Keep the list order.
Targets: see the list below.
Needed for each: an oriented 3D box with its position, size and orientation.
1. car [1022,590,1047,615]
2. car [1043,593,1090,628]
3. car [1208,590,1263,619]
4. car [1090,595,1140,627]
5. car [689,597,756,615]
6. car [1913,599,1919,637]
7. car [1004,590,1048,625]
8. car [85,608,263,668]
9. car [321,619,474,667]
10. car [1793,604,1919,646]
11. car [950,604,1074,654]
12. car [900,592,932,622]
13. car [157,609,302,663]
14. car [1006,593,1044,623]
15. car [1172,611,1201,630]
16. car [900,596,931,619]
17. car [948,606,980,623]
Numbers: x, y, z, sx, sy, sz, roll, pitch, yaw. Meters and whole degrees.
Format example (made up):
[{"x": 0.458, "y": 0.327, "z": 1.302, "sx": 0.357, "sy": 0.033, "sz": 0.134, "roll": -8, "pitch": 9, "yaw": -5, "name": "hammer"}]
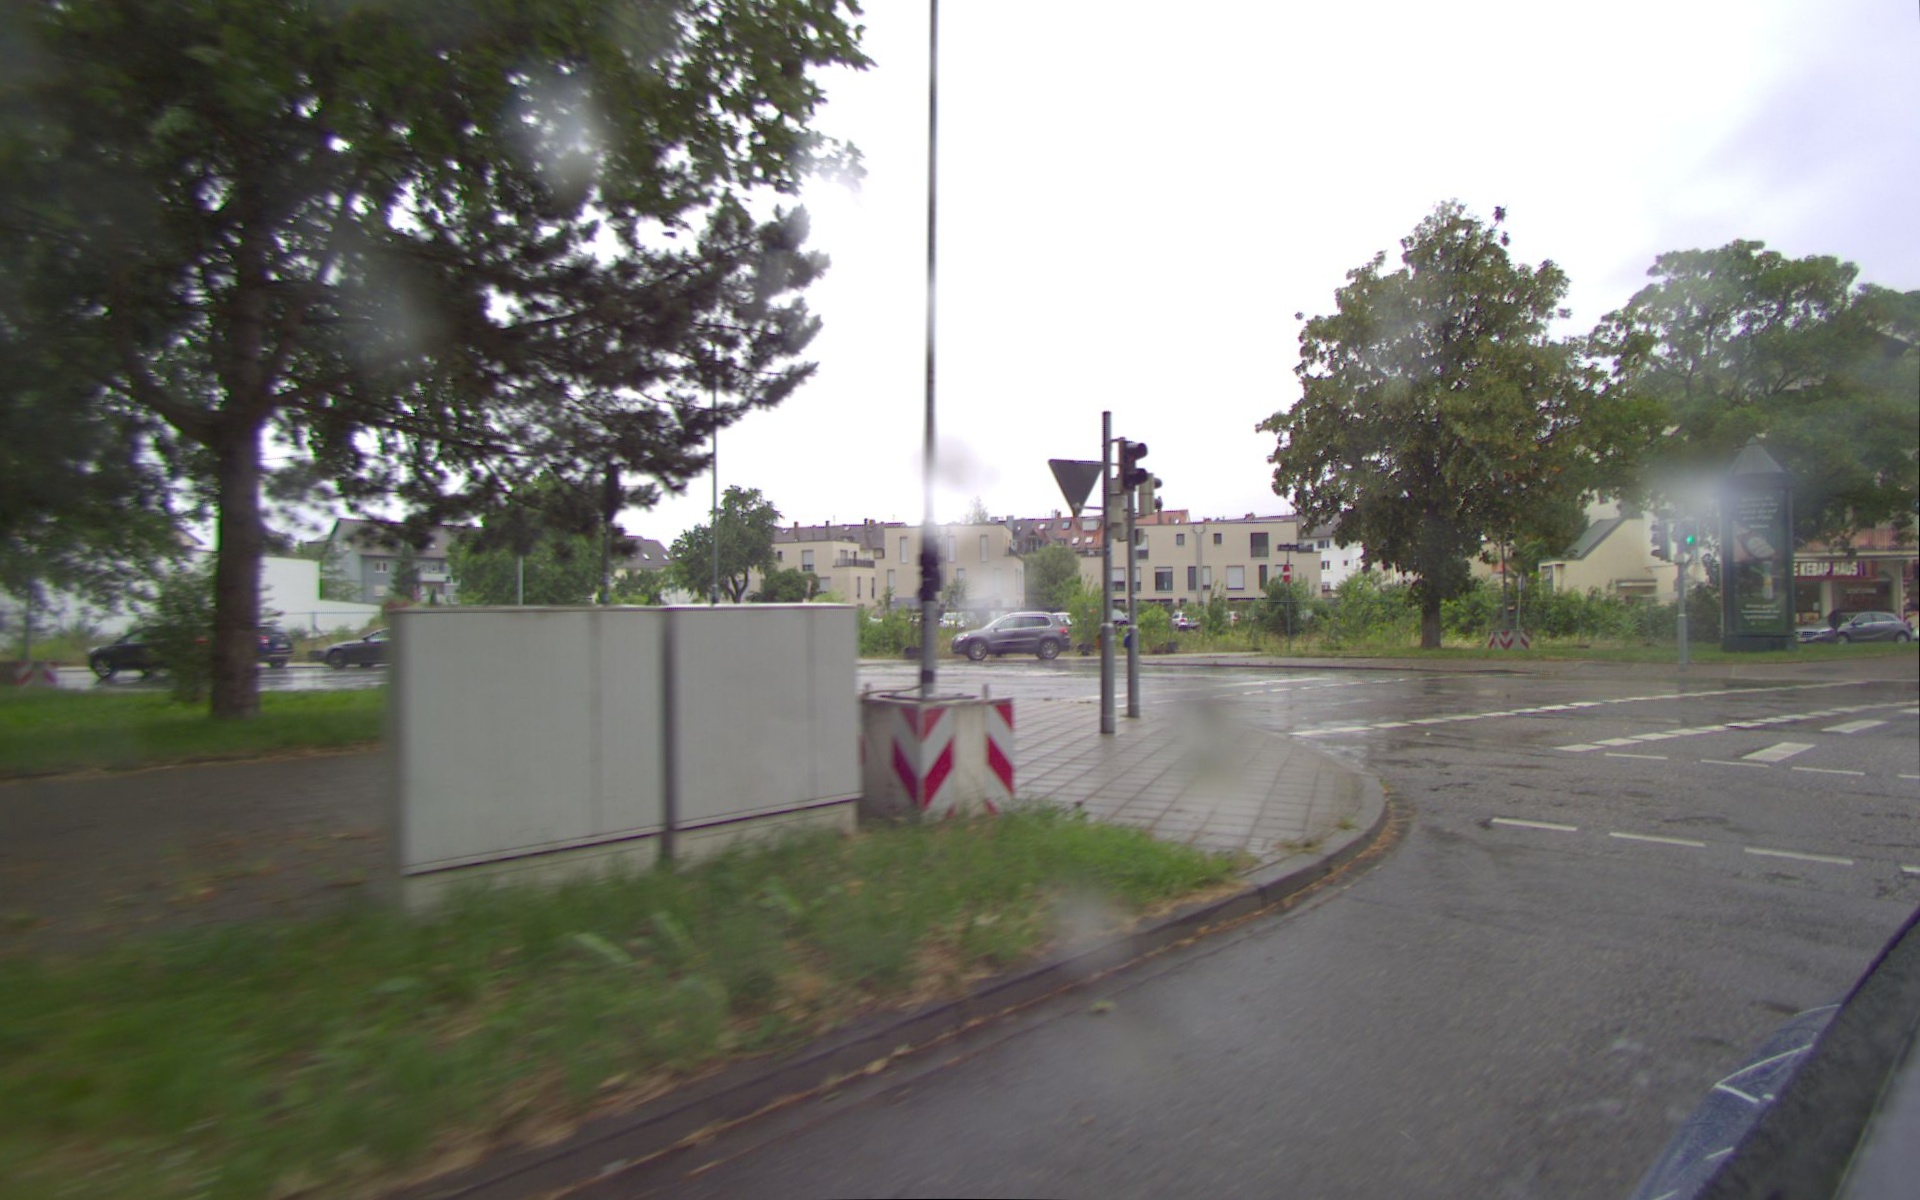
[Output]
[{"x": 6.345, "y": 0.227, "z": 86.435, "sx": 1.963, "sy": 2.039, "sz": 3.997, "roll": -1, "pitch": -1, "yaw": 2, "name": "car"}, {"x": 6.664, "y": 0.673, "z": 63.723, "sx": 1.959, "sy": 2.039, "sz": 4.004, "roll": -1, "pitch": -1, "yaw": -7, "name": "car"}, {"x": 17.291, "y": 0.302, "z": 63.709, "sx": 1.870, "sy": 1.705, "sz": 4.004, "roll": -1, "pitch": -1, "yaw": -7, "name": "car"}, {"x": 9.629, "y": 0.694, "z": 63.084, "sx": 1.959, "sy": 1.884, "sz": 4.004, "roll": -1, "pitch": -1, "yaw": -8, "name": "car"}, {"x": -17.016, "y": 0.433, "z": 72.521, "sx": 4.330, "sy": 1.150, "sz": 1.763, "roll": -2, "pitch": -1, "yaw": 11, "name": "car"}, {"x": 39.231, "y": 0.647, "z": 38.823, "sx": 4.091, "sy": 1.452, "sz": 1.641, "roll": -1, "pitch": -1, "yaw": -9, "name": "car"}, {"x": 4.094, "y": 0.485, "z": 63.171, "sx": 1.959, "sy": 2.039, "sz": 4.004, "roll": -1, "pitch": -1, "yaw": -7, "name": "car"}, {"x": -25.155, "y": 1.194, "z": 32.494, "sx": 4.225, "sy": 1.766, "sz": 1.998, "roll": -1, "pitch": -1, "yaw": 2, "name": "car"}, {"x": -20.119, "y": 1.506, "z": 36.332, "sx": 4.446, "sy": 1.569, "sz": 1.979, "roll": -1, "pitch": -1, "yaw": 2, "name": "car"}, {"x": 34.177, "y": 0.919, "z": 38.325, "sx": 4.072, "sy": 1.452, "sz": 1.705, "roll": -1, "pitch": -1, "yaw": -9, "name": "car"}, {"x": 1.817, "y": 1.024, "z": 36.260, "sx": 4.220, "sy": 1.676, "sz": 1.861, "roll": -1, "pitch": -1, "yaw": -4, "name": "car"}, {"x": -3.221, "y": 0.535, "z": 73.279, "sx": 1.959, "sy": 2.039, "sz": 4.004, "roll": -1, "pitch": -1, "yaw": -7, "name": "car"}, {"x": -26.499, "y": 1.283, "z": 36.796, "sx": 4.013, "sy": 1.833, "sz": 1.880, "roll": -1, "pitch": -1, "yaw": 2, "name": "car"}, {"x": 4.721, "y": 0.611, "z": 74.341, "sx": 1.959, "sy": 2.039, "sz": 4.004, "roll": -1, "pitch": -1, "yaw": -7, "name": "car"}, {"x": 16.921, "y": 1.537, "z": 75.633, "sx": 1.737, "sy": 1.360, "sz": 4.083, "roll": -1, "pitch": -1, "yaw": 8, "name": "car"}, {"x": -3.851, "y": 0.653, "z": 88.327, "sx": 1.967, "sy": 1.902, "sz": 3.989, "roll": -1, "pitch": -1, "yaw": 9, "name": "car"}, {"x": 0.280, "y": 1.070, "z": 73.933, "sx": 1.733, "sy": 1.150, "sz": 4.405, "roll": -1, "pitch": -1, "yaw": -7, "name": "car"}]
